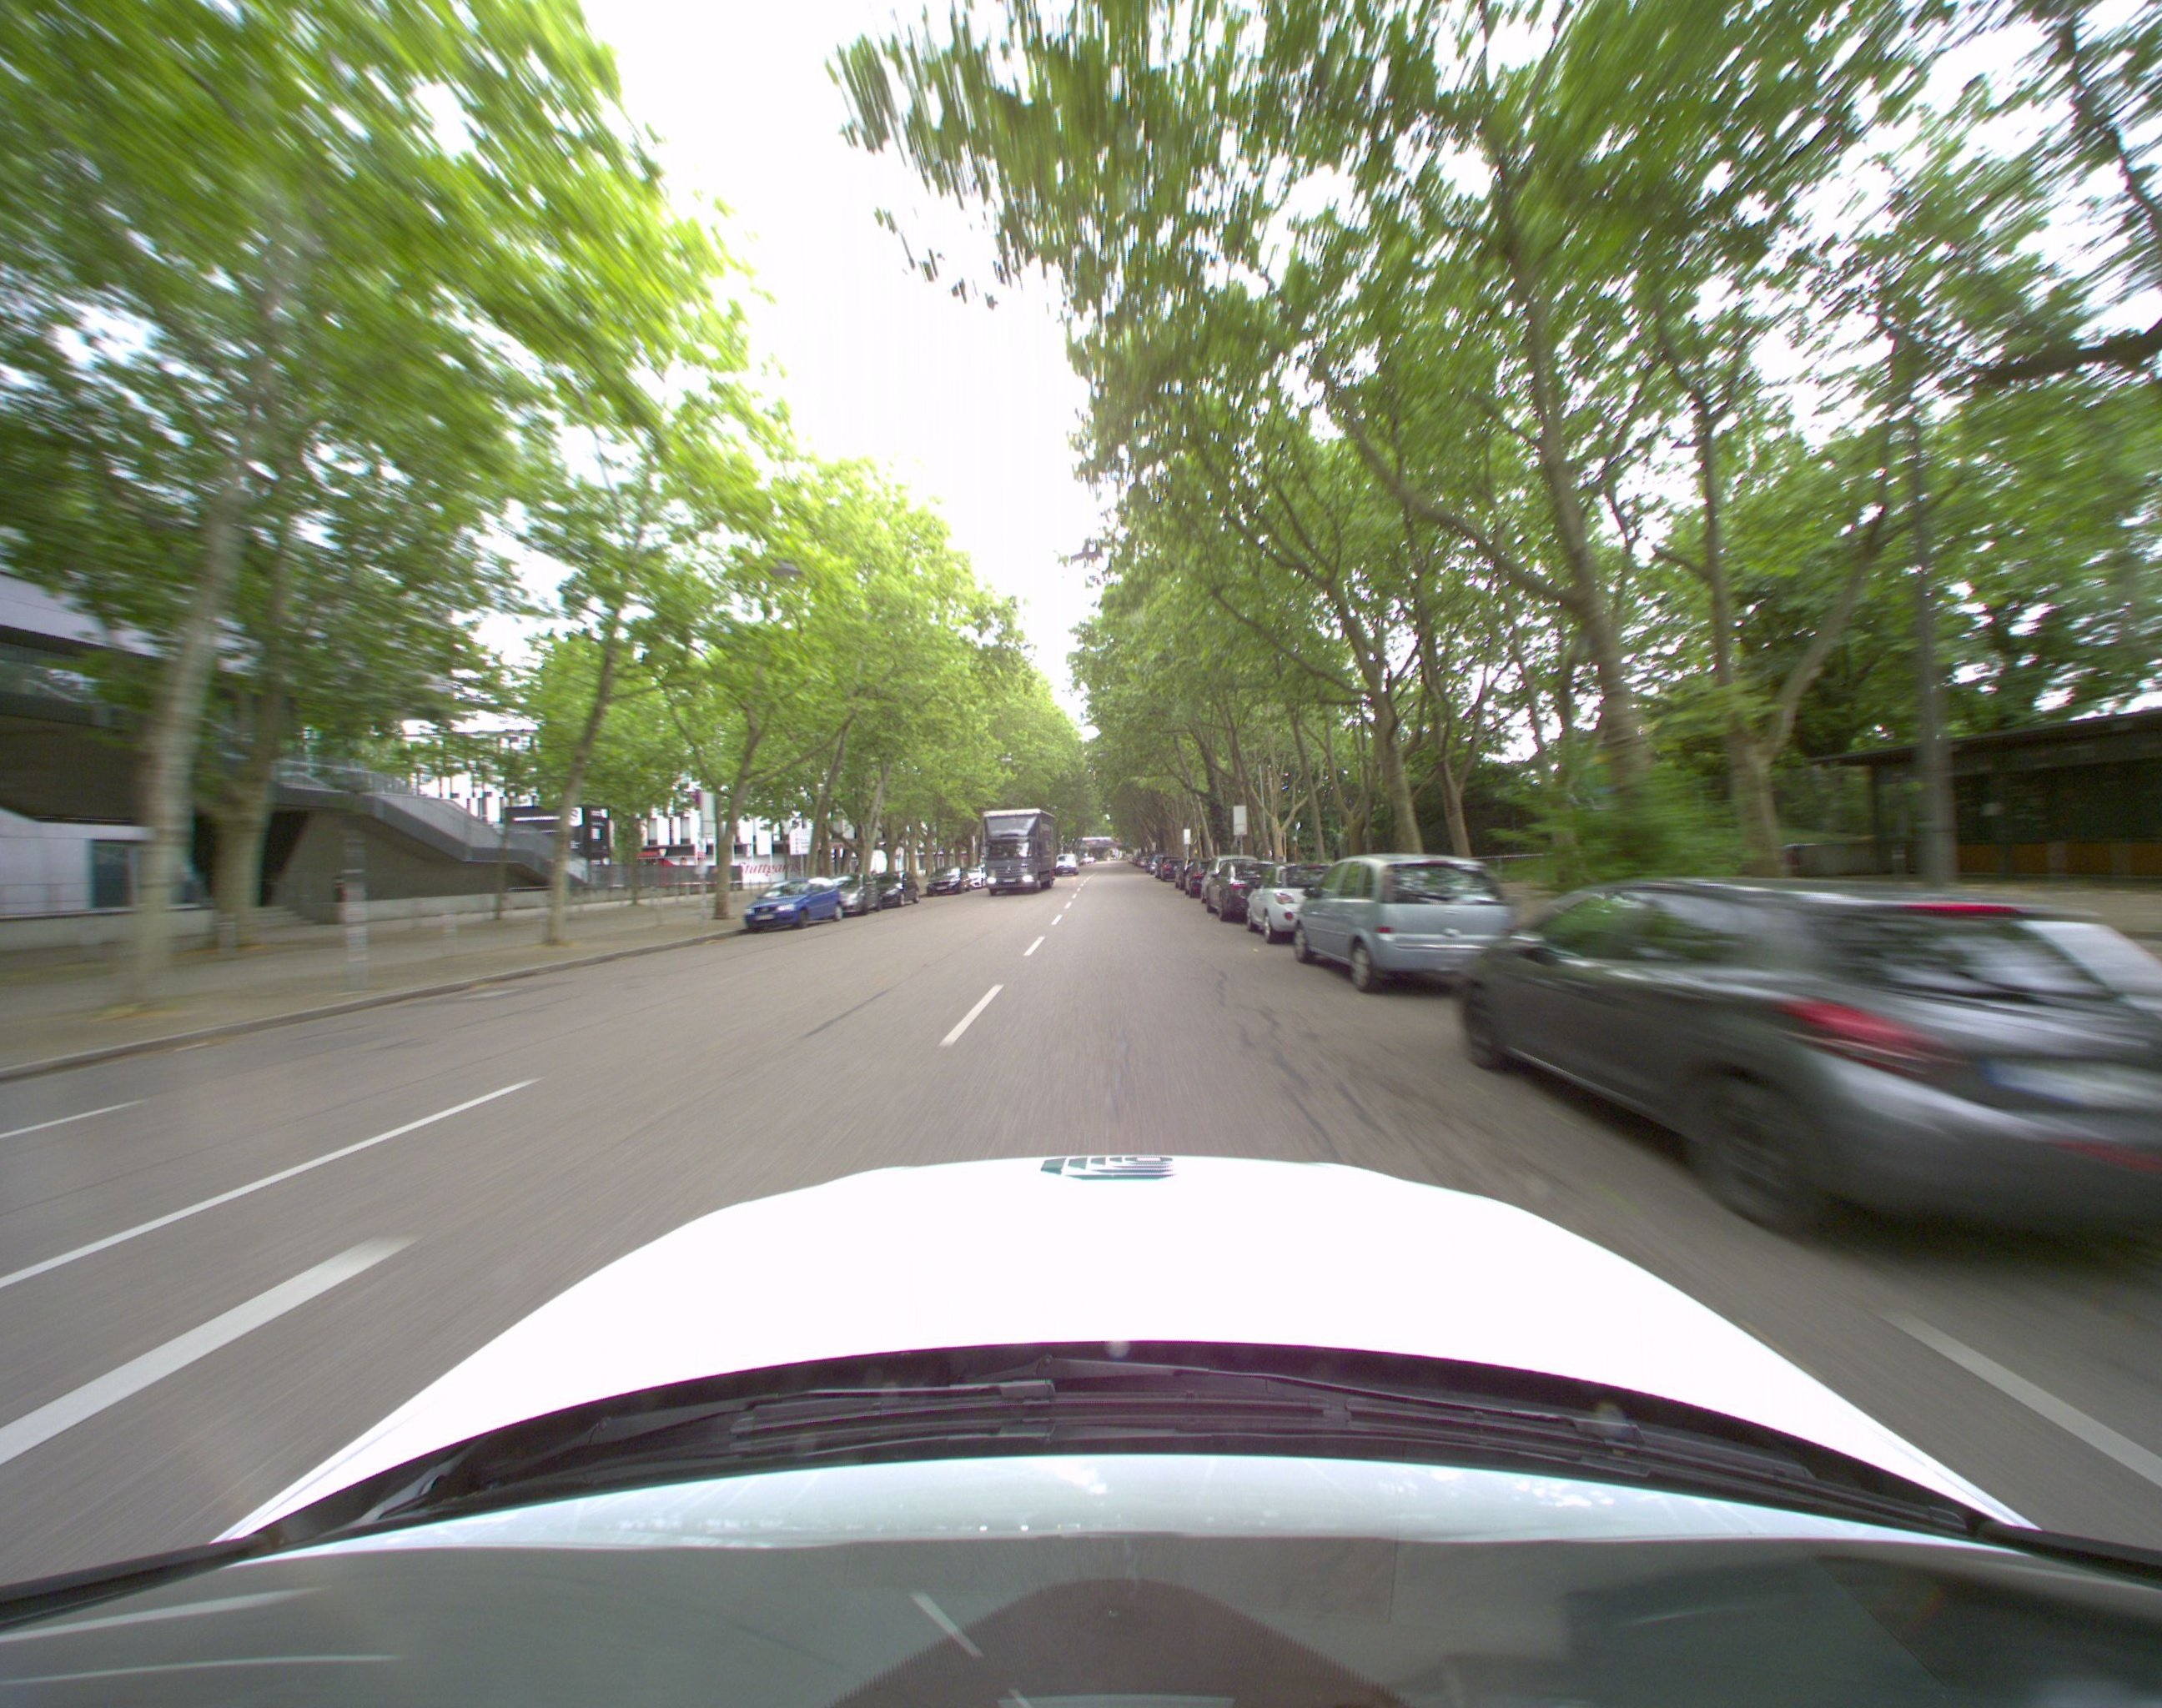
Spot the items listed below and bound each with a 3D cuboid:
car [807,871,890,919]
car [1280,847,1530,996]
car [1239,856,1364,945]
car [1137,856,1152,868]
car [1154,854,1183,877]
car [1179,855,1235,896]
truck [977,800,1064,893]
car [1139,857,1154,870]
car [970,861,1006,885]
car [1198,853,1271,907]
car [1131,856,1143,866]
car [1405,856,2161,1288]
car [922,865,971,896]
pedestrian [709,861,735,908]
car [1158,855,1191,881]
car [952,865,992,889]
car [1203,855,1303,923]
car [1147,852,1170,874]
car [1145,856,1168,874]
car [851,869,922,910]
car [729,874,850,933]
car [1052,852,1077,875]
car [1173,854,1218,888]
[{"bbox_3d":[-7.987,1.379,28.311,1.761,1.418,3.759,-5,-2,-1],"label":"car"},{"bbox_3d":[4.032,0.751,10.904,1.713,1.567,4.094,2,0,0],"label":"car"},{"bbox_3d":[4.205,0.823,16.039,1.668,1.490,3.690,2,0,4],"label":"car"},{"bbox_3d":[8.754,1.101,112.400,1.749,1.534,3.931,-3,-1,2],"label":"car"},{"bbox_3d":[6.122,0.774,57.173,1.749,1.534,3.931,-2,0,2],"label":"car"},{"bbox_3d":[4.939,0.817,32.305,1.749,1.534,3.931,0,-1,2],"label":"car"},{"bbox_3d":[-2.744,-0.291,40.405,2.629,3.901,9.552,-3,-1,5],"label":"truck"},{"bbox_3d":[8.578,1.241,107.134,1.749,1.534,3.931,-4,-1,2],"label":"car"},{"bbox_3d":[-6.363,1.320,55.921,1.888,1.438,4.000,-3,-2,1],"label":"car"},{"bbox_3d":[4.830,0.781,26.144,1.749,1.597,3.931,0,0,2],"label":"car"},{"bbox_3d":[9.236,1.150,134.170,1.749,1.534,3.931,0,-1,2],"label":"car"},{"bbox_3d":[3.728,0.798,5.171,1.692,1.519,4.456,2,0,2],"label":"car"},{"bbox_3d":[-7.042,1.375,43.033,1.759,1.418,3.763,-5,-2,2],"label":"car"},{"bbox_3d":[-14.427,1.197,32.727,0.775,1.835,0.870,-1,-1,-32],"label":"pedestrian"},{"bbox_3d":[5.838,0.854,51.285,1.749,1.534,3.931,0,-1,2],"label":"car"},{"bbox_3d":[-6.687,1.444,50.209,1.726,1.332,4.001,-3,-2,2],"label":"car"},{"bbox_3d":[4.254,0.819,20.784,1.749,1.490,4.419,2,0,2],"label":"car"},{"bbox_3d":[7.404,0.809,78.077,1.749,1.815,3.931,-6,0,2],"label":"car"},{"bbox_3d":[6.542,0.952,70.897,1.749,1.534,3.931,0,-1,2],"label":"car"},{"bbox_3d":[-7.789,1.415,32.983,1.759,1.418,3.763,-5,-2,2],"label":"car"},{"bbox_3d":[-8.321,1.374,23.587,1.686,1.418,3.768,-5,-2,6],"label":"car"},{"bbox_3d":[-1.438,0.855,74.266,1.972,1.934,4.115,-2,0,2],"label":"car"},{"bbox_3d":[5.450,0.796,39.074,1.749,1.534,3.931,0,-1,2],"label":"car"}]
